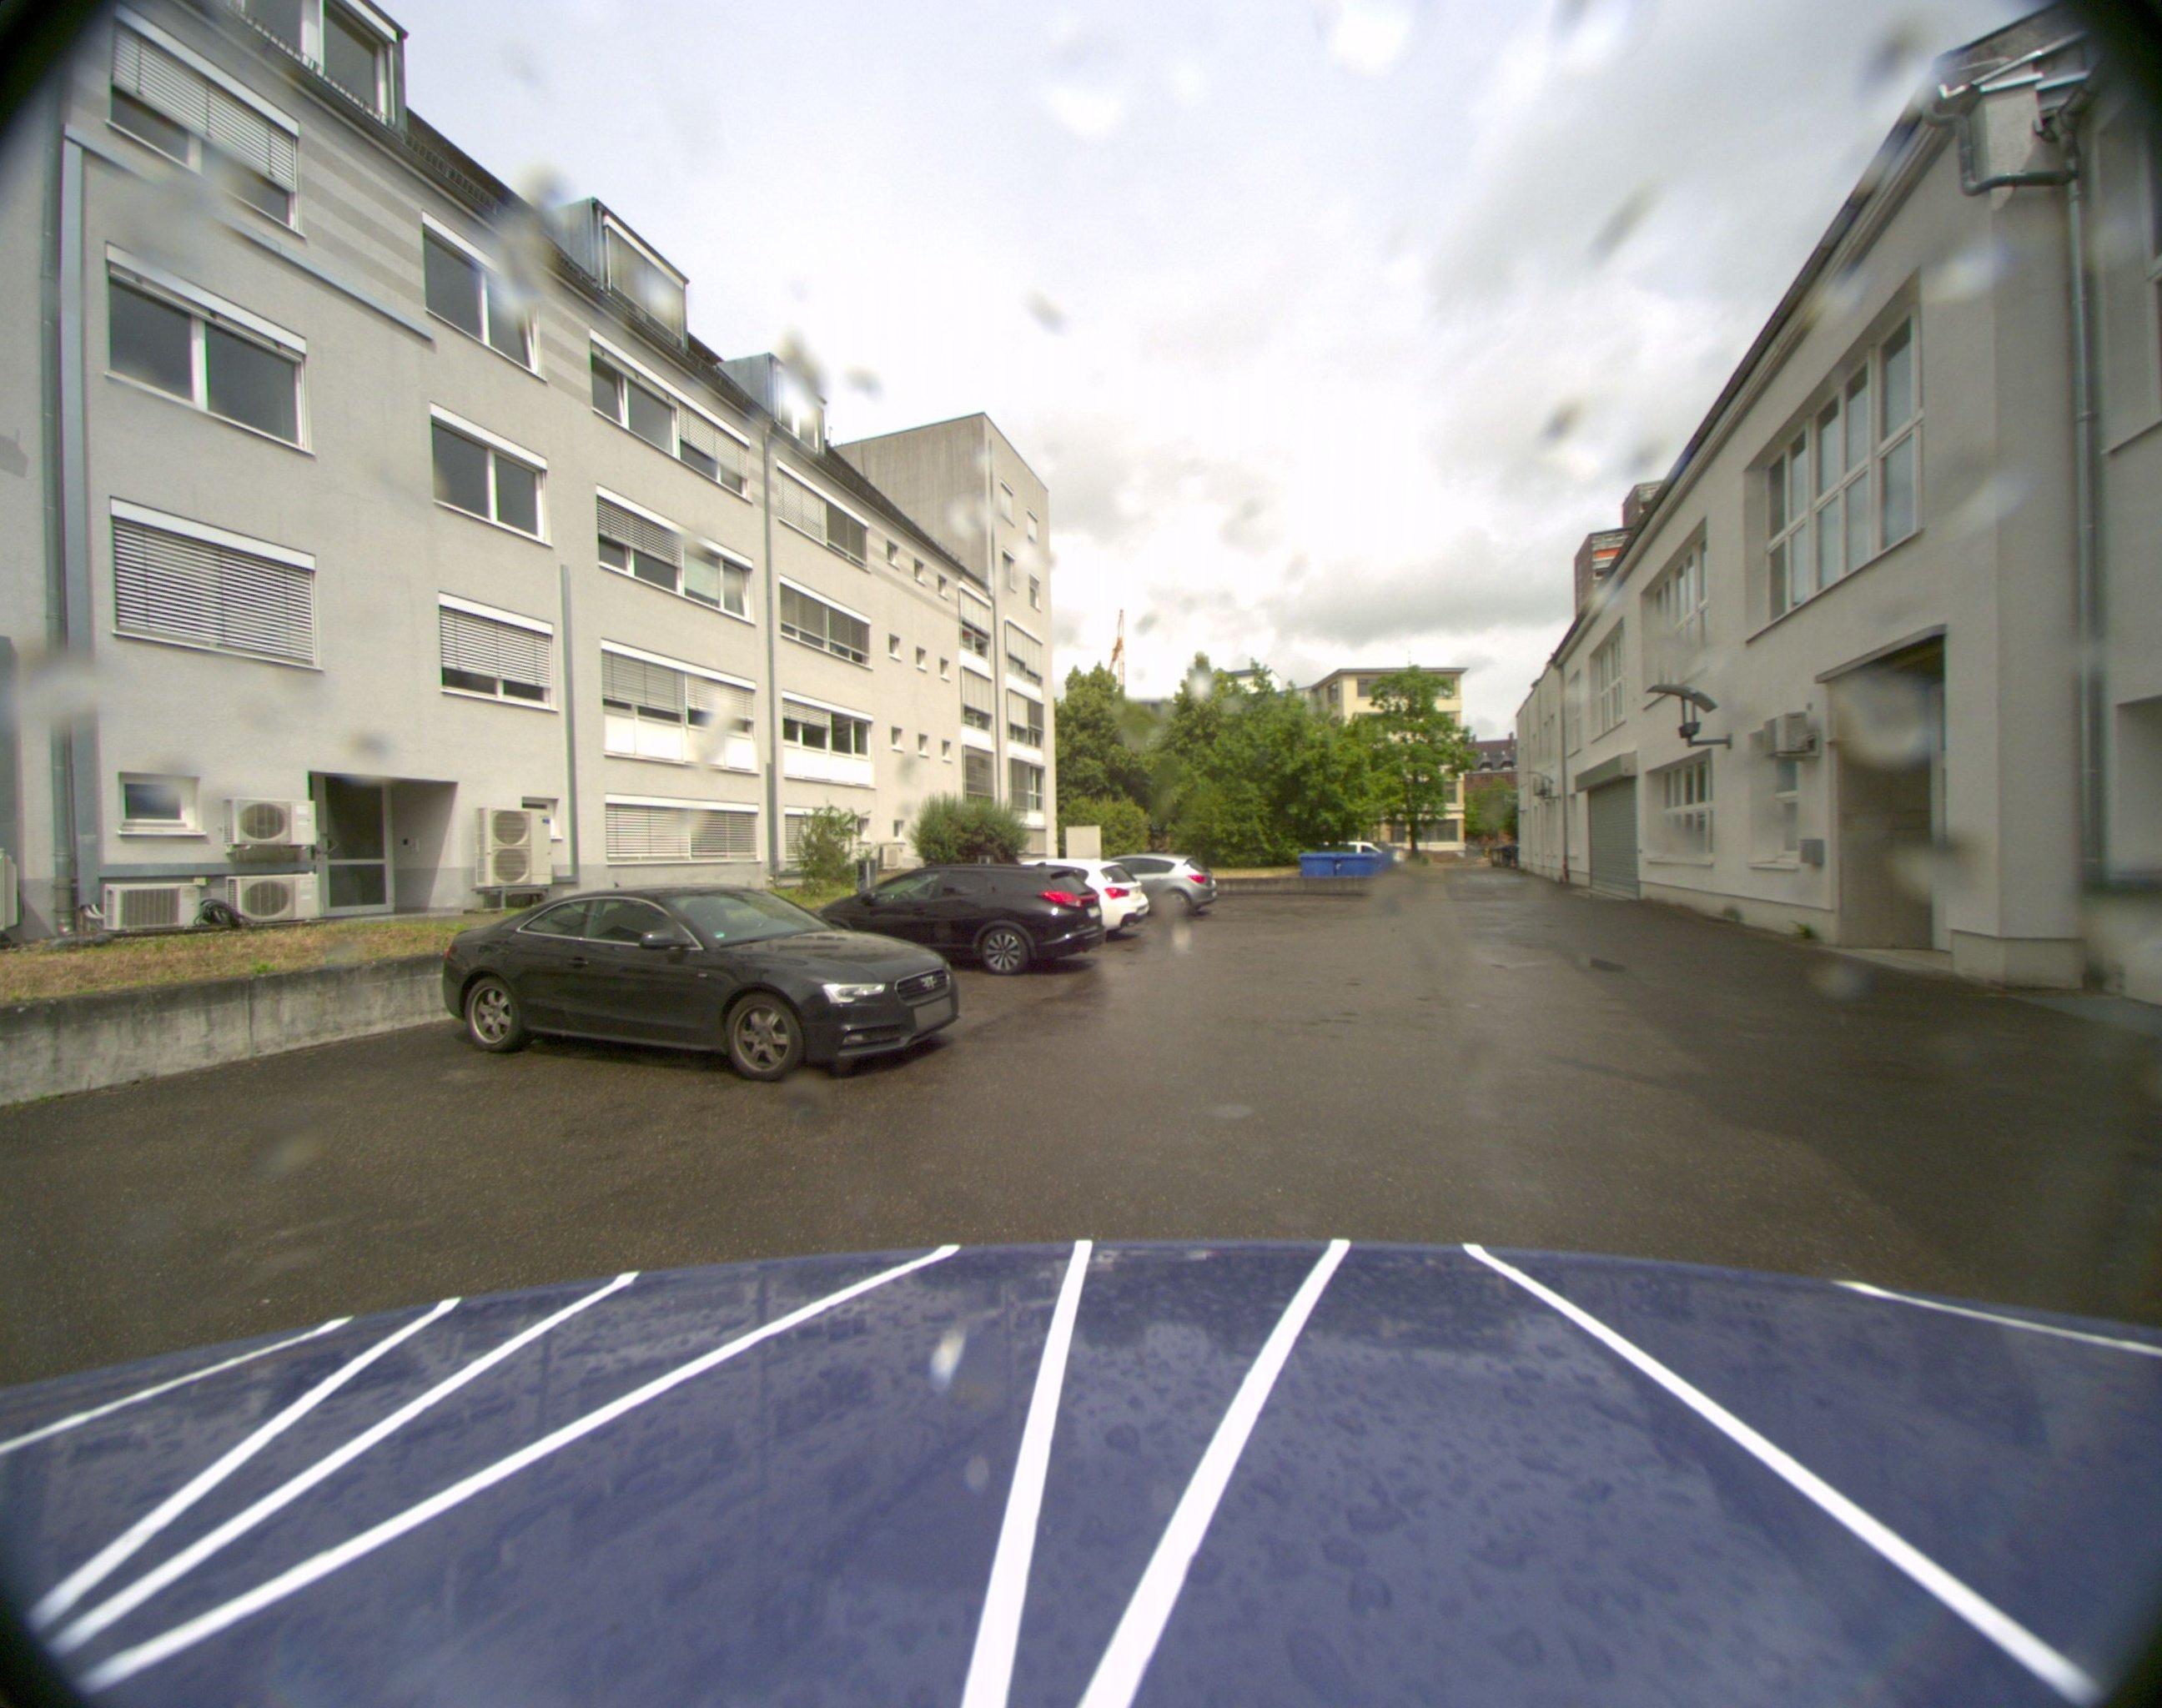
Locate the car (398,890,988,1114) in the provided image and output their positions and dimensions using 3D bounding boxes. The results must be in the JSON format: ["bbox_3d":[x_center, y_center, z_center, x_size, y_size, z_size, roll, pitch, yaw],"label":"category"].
[{"bbox_3d":[-3.191,1.040,6.418,4.358,1.341,1.863,-1,0,18],"label":"car"}]

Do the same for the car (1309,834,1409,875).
[{"bbox_3d":[15.423,0.035,42.165,4.940,2.002,2.003,-2,0,28],"label":"car"}]

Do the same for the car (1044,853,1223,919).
[{"bbox_3d":[1.306,0.759,18.790,4.084,1.450,1.670,-1,2,21],"label":"car"}]

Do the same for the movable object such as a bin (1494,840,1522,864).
[{"bbox_3d":[27.395,-0.123,48.782,1.361,1.462,1.368,-3,-1,24],"label":"movable object such as a bin"}]

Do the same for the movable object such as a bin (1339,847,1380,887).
[{"bbox_3d":[9.510,0.447,25.921,1.230,1.309,1.057,-1,0,24],"label":"movable object such as a bin"}]

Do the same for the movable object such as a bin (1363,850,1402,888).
[{"bbox_3d":[10.854,0.535,27.338,1.175,1.309,1.057,-3,-1,24],"label":"movable object such as a bin"}]

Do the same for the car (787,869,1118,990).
[{"bbox_3d":[-1.766,0.974,10.804,4.175,1.393,1.942,-1,1,18],"label":"car"}]

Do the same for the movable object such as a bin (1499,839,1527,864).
[{"bbox_3d":[26.802,-0.150,47.162,1.361,1.462,1.368,-3,-1,24],"label":"movable object such as a bin"}]

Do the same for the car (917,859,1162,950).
[{"bbox_3d":[-0.747,0.865,14.067,4.102,1.447,1.835,-1,1,21],"label":"car"}]

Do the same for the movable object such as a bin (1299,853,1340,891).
[{"bbox_3d":[8.304,0.616,26.413,1.230,1.309,1.057,-1,0,24],"label":"movable object such as a bin"}]

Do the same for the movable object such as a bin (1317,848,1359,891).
[{"bbox_3d":[9.336,0.557,27.552,1.276,1.474,1.103,-3,-1,24],"label":"movable object such as a bin"}]

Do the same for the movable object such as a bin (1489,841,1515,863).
[{"bbox_3d":[29.307,-0.130,52.948,1.410,1.462,1.563,-3,-1,24],"label":"movable object such as a bin"}]
